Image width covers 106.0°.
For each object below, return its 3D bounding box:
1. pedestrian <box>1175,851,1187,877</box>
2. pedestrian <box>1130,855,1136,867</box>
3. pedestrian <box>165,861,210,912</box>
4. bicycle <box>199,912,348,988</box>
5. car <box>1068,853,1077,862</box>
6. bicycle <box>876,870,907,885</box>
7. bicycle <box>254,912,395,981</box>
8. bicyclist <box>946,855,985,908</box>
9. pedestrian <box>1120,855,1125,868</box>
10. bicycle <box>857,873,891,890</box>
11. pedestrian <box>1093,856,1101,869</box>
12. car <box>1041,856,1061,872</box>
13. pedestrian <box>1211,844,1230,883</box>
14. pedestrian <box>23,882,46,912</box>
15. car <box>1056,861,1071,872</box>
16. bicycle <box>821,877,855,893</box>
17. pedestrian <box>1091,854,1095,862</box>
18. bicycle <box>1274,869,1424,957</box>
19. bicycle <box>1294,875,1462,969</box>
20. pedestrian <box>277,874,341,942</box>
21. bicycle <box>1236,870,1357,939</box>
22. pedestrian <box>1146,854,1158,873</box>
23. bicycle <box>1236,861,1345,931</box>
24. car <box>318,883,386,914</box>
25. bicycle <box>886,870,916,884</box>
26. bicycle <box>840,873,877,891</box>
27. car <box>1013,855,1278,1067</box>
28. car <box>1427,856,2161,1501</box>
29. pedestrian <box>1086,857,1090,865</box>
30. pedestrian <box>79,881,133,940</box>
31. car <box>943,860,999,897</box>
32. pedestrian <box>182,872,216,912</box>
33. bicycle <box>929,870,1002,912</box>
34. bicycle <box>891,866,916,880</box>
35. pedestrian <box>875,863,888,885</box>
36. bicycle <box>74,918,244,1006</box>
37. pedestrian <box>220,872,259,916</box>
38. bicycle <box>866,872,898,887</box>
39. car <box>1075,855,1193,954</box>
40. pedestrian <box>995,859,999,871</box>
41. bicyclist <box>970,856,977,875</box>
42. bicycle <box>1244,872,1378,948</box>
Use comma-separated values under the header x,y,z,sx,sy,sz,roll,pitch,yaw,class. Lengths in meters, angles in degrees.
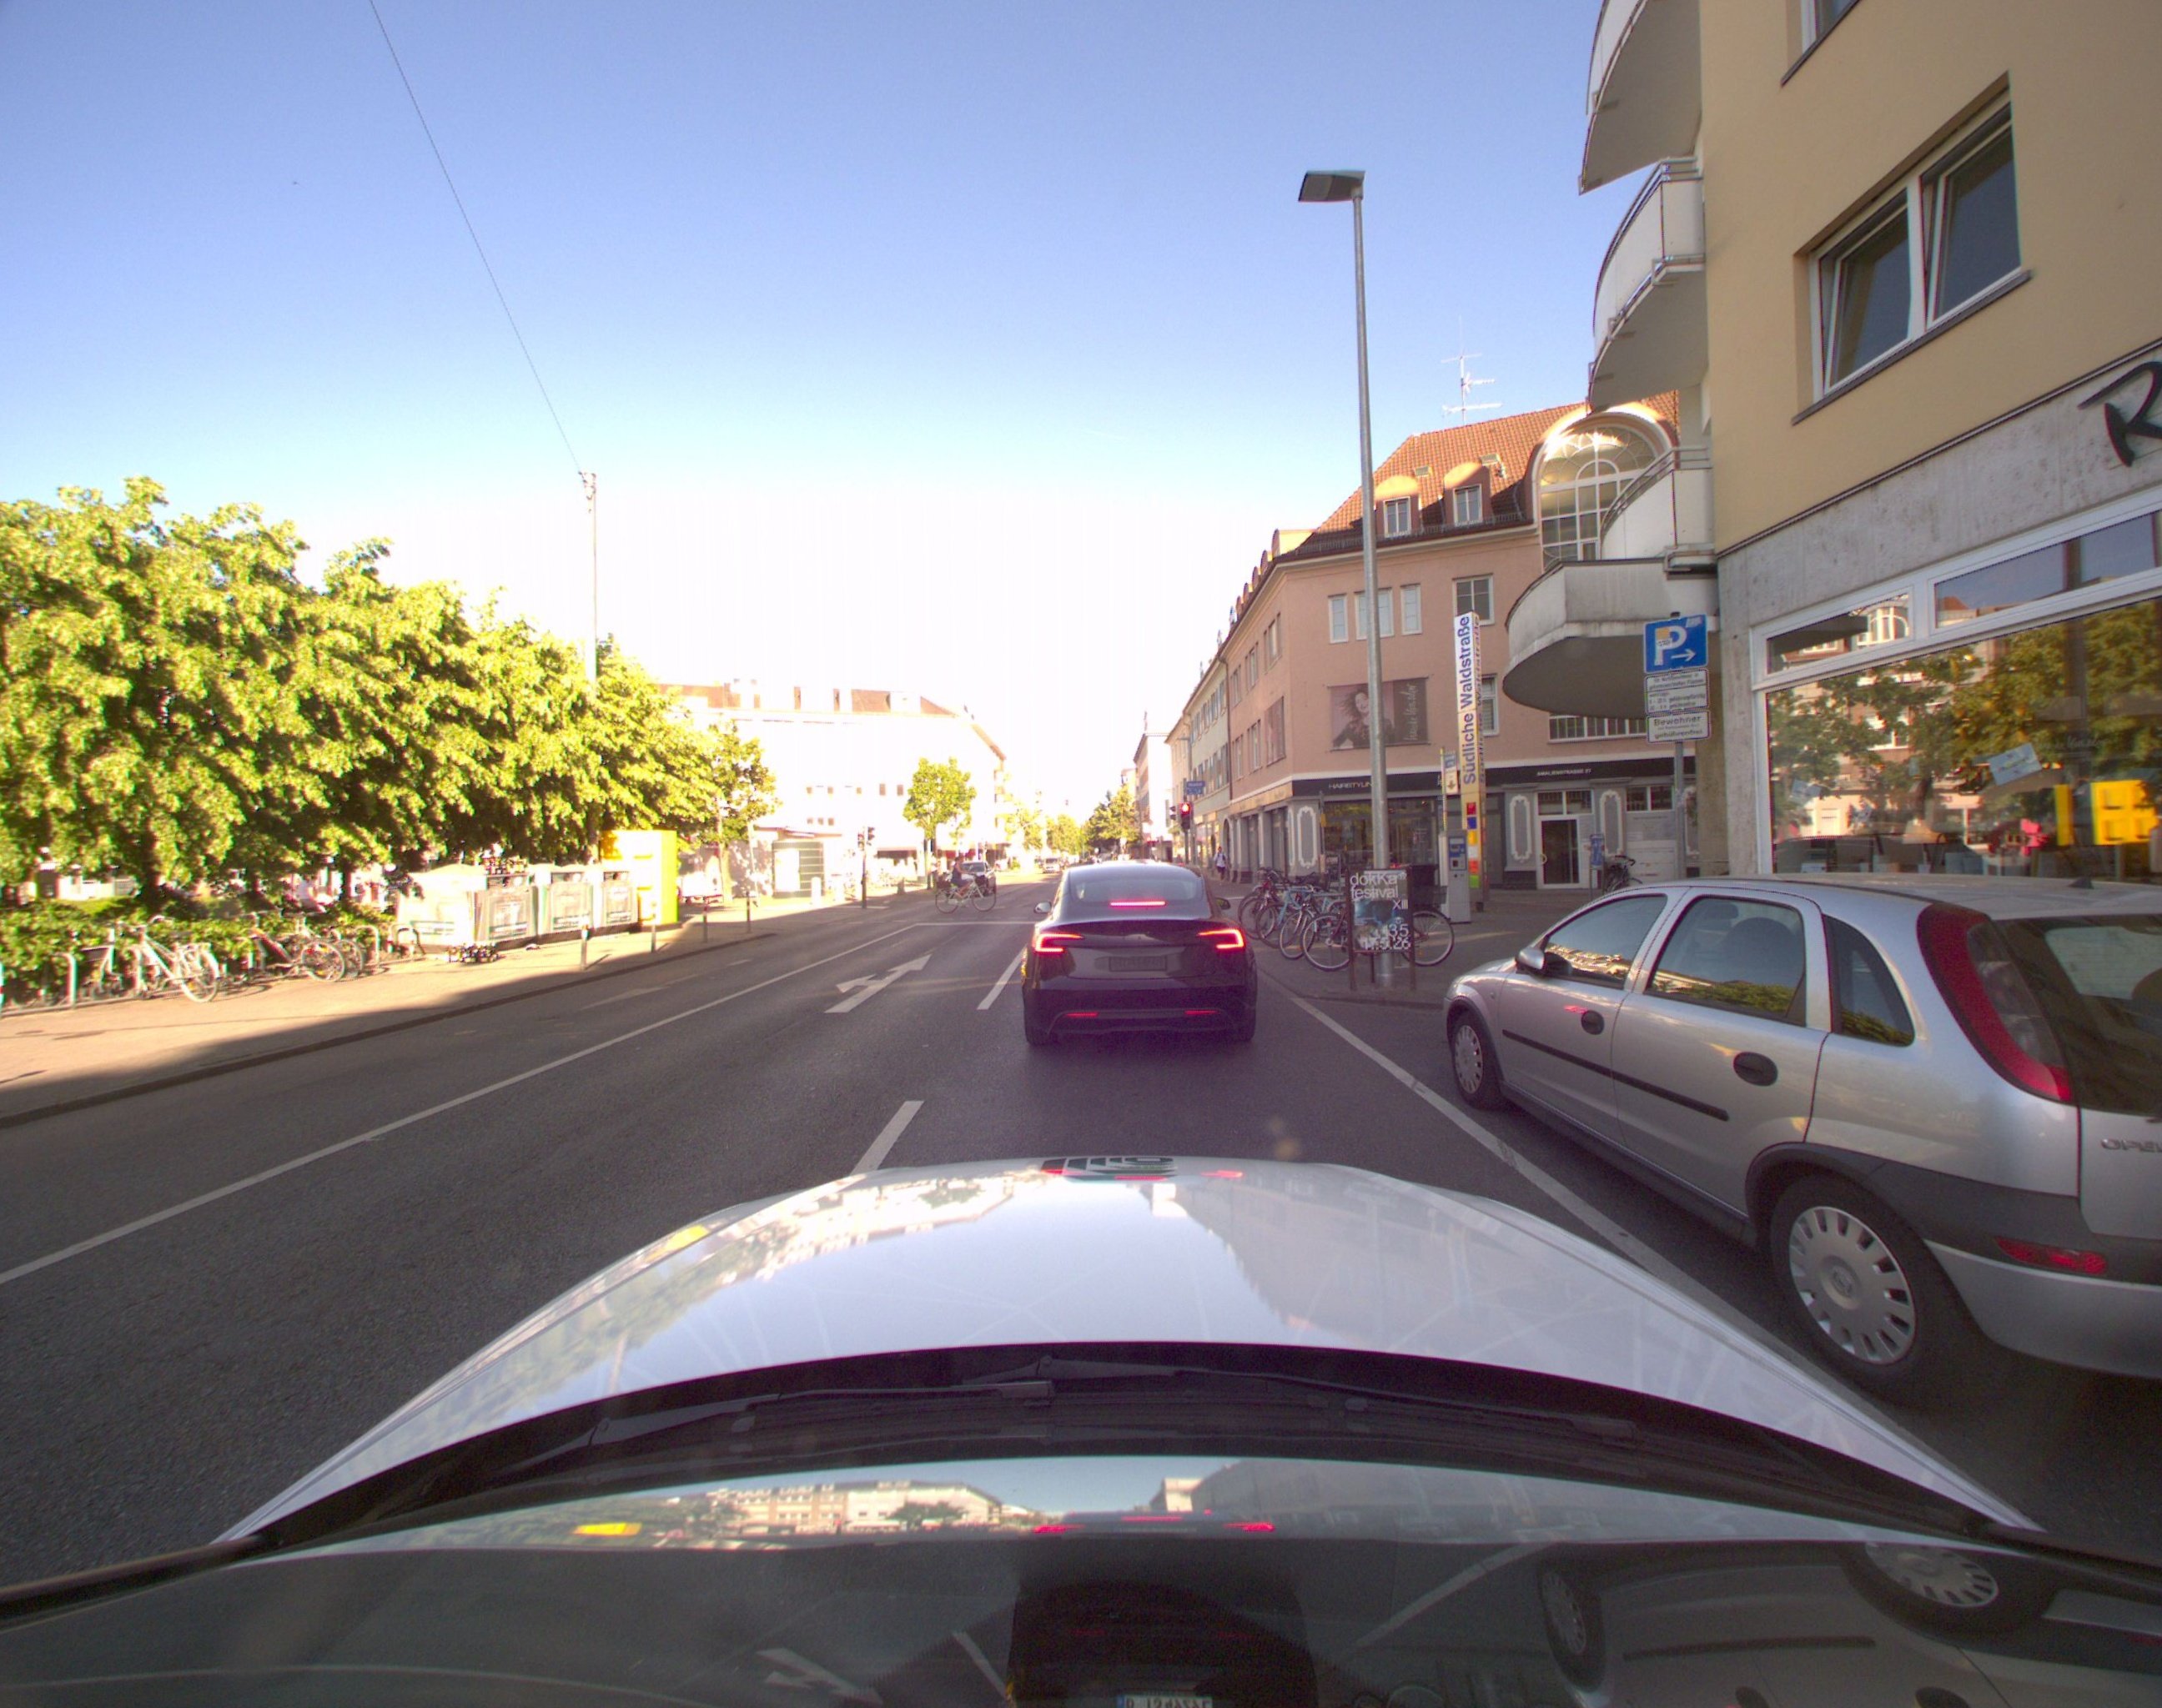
x,y,z,sx,sy,sz,roll,pitch,yaw,class
6.736,0.657,55.004,0.704,1.742,0.540,-1,0,1,pedestrian
6.129,0.828,95.815,0.524,1.422,0.475,0,-1,-28,pedestrian
-36.276,1.308,33.069,0.890,2.013,0.893,-1,0,15,pedestrian
-11.532,1.354,11.638,1.913,1.003,0.518,-1,-1,11,bicycle
-1.936,0.878,187.443,1.986,2.013,4.001,-1,0,1,car
-12.264,1.535,52.786,1.857,0.934,0.606,-1,0,0,bicycle
-11.321,1.373,12.195,1.888,0.955,0.518,-1,-1,11,bicycle
-3.360,0.792,23.702,0.886,1.482,0.703,-3,-1,7,bicyclist
4.889,0.885,95.957,0.474,1.417,0.517,0,-1,-29,pedestrian
-12.135,1.615,47.720,1.857,0.934,0.606,0,-1,0,bicycle
2.053,1.104,105.402,0.719,1.695,0.843,-1,0,-26,pedestrian
-3.104,1.000,85.521,1.780,1.646,4.404,-1,0,2,car
6.391,0.427,37.309,0.747,1.765,0.838,-1,-1,6,pedestrian
-77.875,3.220,60.595,0.891,2.171,0.882,-1,-1,26,pedestrian
-2.227,1.585,104.428,1.709,1.446,3.846,0,-1,2,car
-12.838,1.633,43.073,1.640,0.792,0.606,0,-1,-3,bicycle
2.944,1.039,205.715,0.927,2.014,0.939,0,-1,1,pedestrian
3.651,0.803,11.188,1.864,1.087,0.415,-3,-1,5,bicycle
3.620,0.835,10.010,1.862,1.038,0.354,-3,-1,8,bicycle
-23.561,1.630,24.876,1.051,2.014,0.971,0,-1,-10,pedestrian
3.585,0.837,13.664,1.863,1.038,0.548,-3,-1,7,bicycle
6.014,0.826,69.341,0.756,1.631,0.951,0,-1,-16,pedestrian
3.778,0.757,14.781,1.818,1.169,0.507,-3,-1,7,bicycle
-35.053,2.109,39.162,3.526,1.386,1.703,-1,0,36,car
-12.184,1.554,55.234,1.857,0.934,0.606,-1,0,0,bicycle
-12.471,1.569,45.648,1.857,0.934,0.606,-1,0,0,bicycle
0.509,0.759,7.671,1.815,1.442,4.001,-1,-1,2,car
2.949,0.725,3.516,1.540,1.390,3.479,-1,-1,3,car
1.851,1.737,205.631,0.927,2.014,0.939,0,-1,1,pedestrian
-34.447,1.986,28.779,0.890,2.013,0.893,-1,0,15,pedestrian
-4.855,1.044,36.459,1.782,1.460,3.759,-4,-1,2,car
-38.792,1.653,35.817,0.754,1.698,0.793,-1,0,25,pedestrian
-3.358,1.067,23.703,1.923,1.118,0.710,-3,-1,7,bicycle
-17.097,1.818,78.437,2.373,1.296,0.509,0,-1,-25,bicycle
-18.922,1.867,77.236,1.060,2.014,1.049,0,-1,-18,pedestrian
-11.622,1.341,10.271,1.919,1.015,0.518,-1,-1,12,bicycle
-39.873,1.876,38.574,1.025,2.014,1.061,-1,-1,31,pedestrian
-12.259,1.576,50.199,1.857,0.934,0.606,0,-1,0,bicycle
0.795,0.746,13.900,1.712,1.425,3.757,-1,0,0,car
-10.079,1.282,97.830,0.459,1.460,0.517,-1,0,-3,pedestrian
-8.784,0.928,66.494,0.525,1.503,0.473,0,-1,-22,bicyclist
3.492,0.848,12.483,1.864,1.038,0.534,-3,-1,5,bicycle
